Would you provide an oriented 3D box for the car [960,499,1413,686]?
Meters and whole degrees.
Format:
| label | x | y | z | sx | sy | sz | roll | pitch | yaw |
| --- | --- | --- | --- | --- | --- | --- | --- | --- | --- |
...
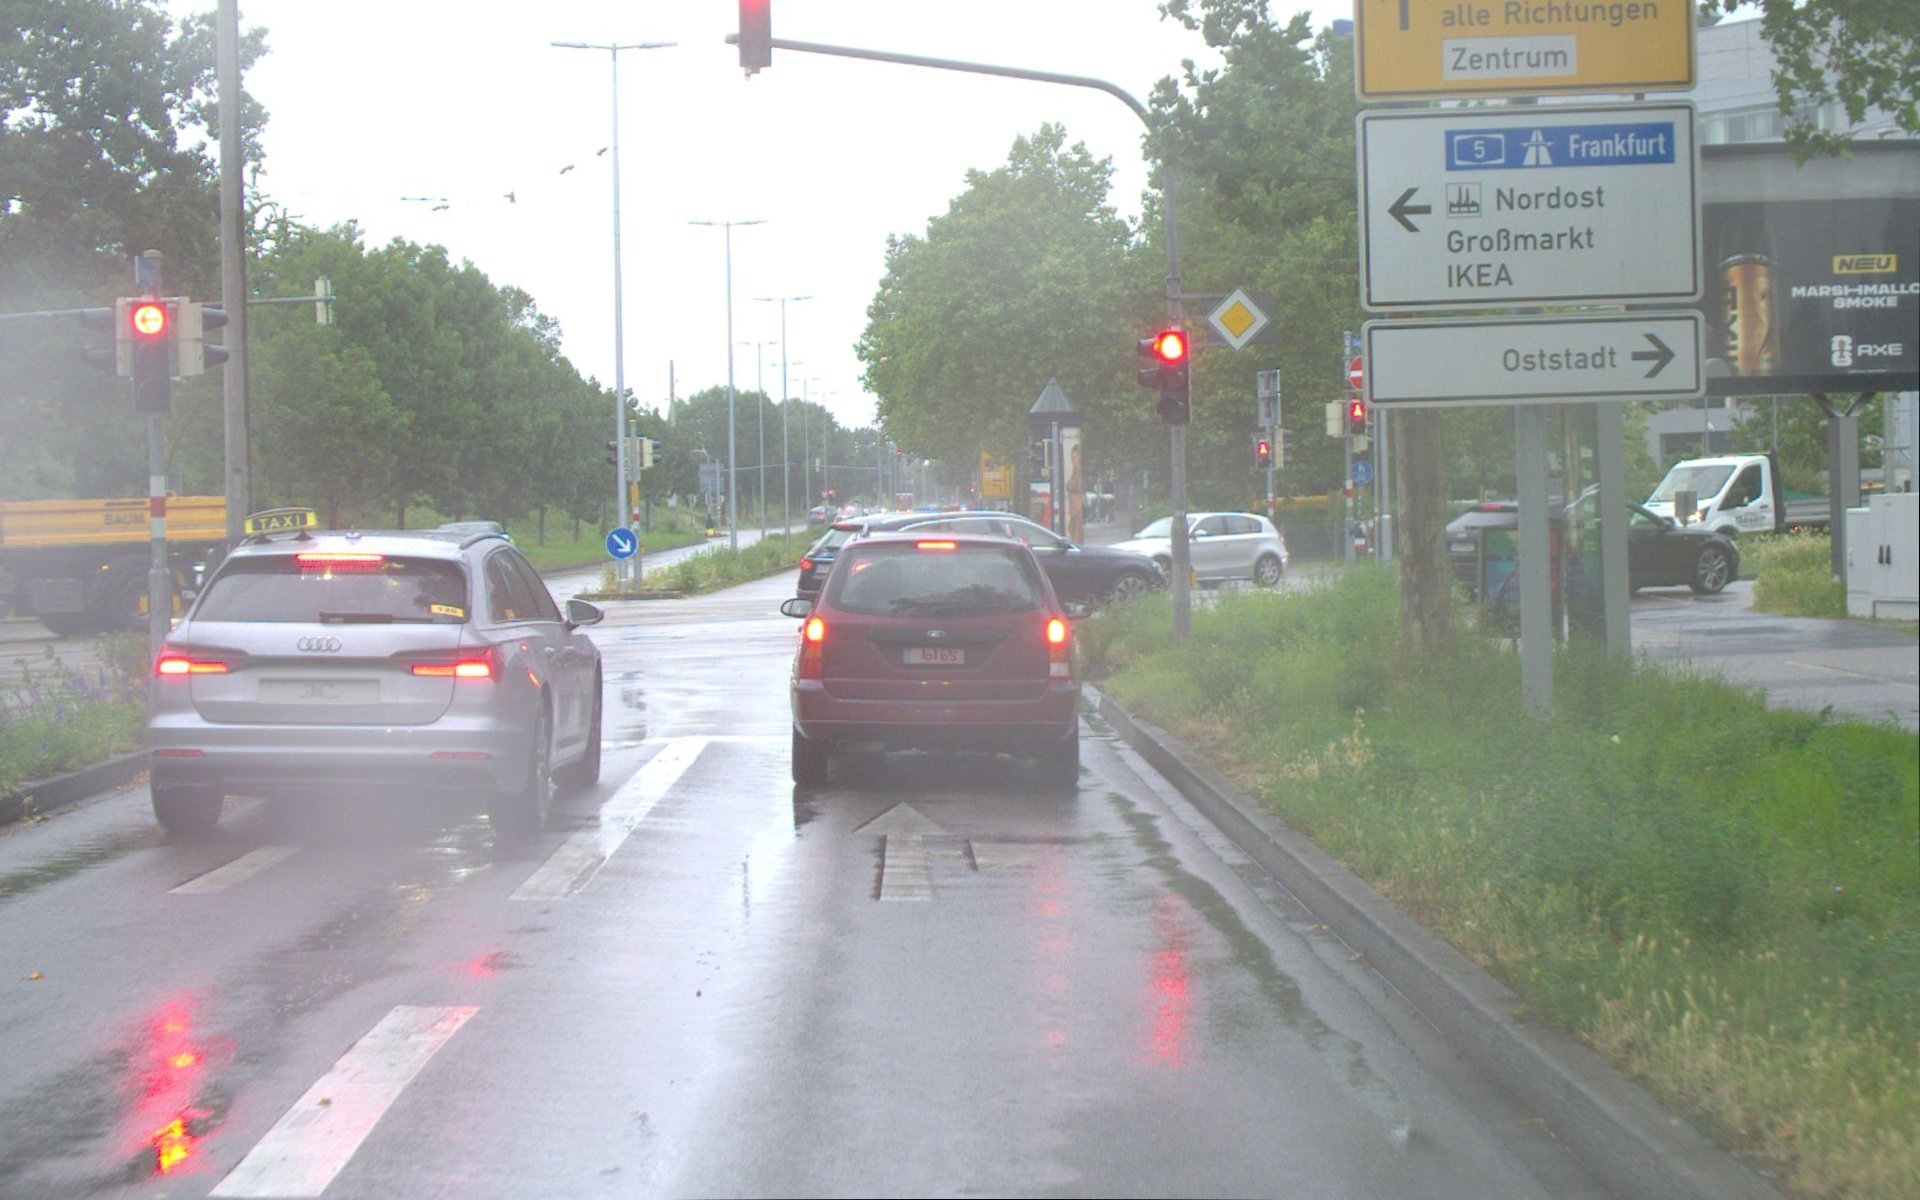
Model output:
| label | x | y | z | sx | sy | sz | roll | pitch | yaw |
| --- | --- | --- | --- | --- | --- | --- | --- | --- | --- |
| car | 2.279 | -0.127 | 33.827 | 4.375 | 1.531 | 1.801 | -5 | 4 | -40 |

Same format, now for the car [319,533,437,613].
| label | x | y | z | sx | sy | sz | roll | pitch | yaw |
| --- | --- | --- | --- | --- | --- | --- | --- | --- | --- |
| car | -11.692 | -0.566 | 69.267 | 1.712 | 1.525 | 4.000 | -1 | 1 | -1 |

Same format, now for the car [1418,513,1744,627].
| label | x | y | z | sx | sy | sz | roll | pitch | yaw |
| --- | --- | --- | --- | --- | --- | --- | --- | --- | --- |
| car | 8.757 | -0.444 | 48.387 | 4.372 | 1.532 | 1.802 | -1 | 1 | -29 |

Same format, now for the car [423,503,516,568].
| label | x | y | z | sx | sy | sz | roll | pitch | yaw |
| --- | --- | --- | --- | --- | --- | --- | --- | --- | --- |
| car | -11.935 | -1.581 | 83.877 | 1.712 | 1.525 | 4.000 | -1 | 1 | -1 |

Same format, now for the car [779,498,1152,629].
| label | x | y | z | sx | sy | sz | roll | pitch | yaw |
| --- | --- | --- | --- | --- | --- | --- | --- | --- | --- |
| car | 0.086 | -0.483 | 43.452 | 4.372 | 1.532 | 1.802 | -2 | 1 | -29 |

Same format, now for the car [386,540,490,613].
| label | x | y | z | sx | sy | sz | roll | pitch | yaw |
| --- | --- | --- | --- | --- | --- | --- | --- | --- | --- |
| car | -11.483 | -0.537 | 75.848 | 1.712 | 1.525 | 4.000 | -1 | 1 | -1 |

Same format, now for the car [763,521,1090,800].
| label | x | y | z | sx | sy | sz | roll | pitch | yaw |
| --- | --- | --- | --- | --- | --- | --- | --- | --- | --- |
| car | -0.211 | 0.294 | 21.283 | 1.796 | 1.532 | 4.387 | 1 | 1 | -1 |

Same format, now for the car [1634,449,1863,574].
| label | x | y | z | sx | sy | sz | roll | pitch | yaw |
| --- | --- | --- | --- | --- | --- | --- | --- | --- | --- |
| car | 15.401 | -1.731 | 67.094 | 4.374 | 2.183 | 1.802 | -5 | 3 | -35 |

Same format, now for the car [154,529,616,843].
| label | x | y | z | sx | sy | sz | roll | pitch | yaw |
| --- | --- | --- | --- | --- | --- | --- | --- | --- | --- |
| car | -2.847 | 0.347 | 17.959 | 1.690 | 1.428 | 4.574 | 0 | 1 | -1 |

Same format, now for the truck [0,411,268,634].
| label | x | y | z | sx | sy | sz | roll | pitch | yaw |
| --- | --- | --- | --- | --- | --- | --- | --- | --- | --- |
| truck | -13.543 | -1.069 | 48.199 | 7.028 | 3.043 | 2.646 | -2 | 1 | -37 |
